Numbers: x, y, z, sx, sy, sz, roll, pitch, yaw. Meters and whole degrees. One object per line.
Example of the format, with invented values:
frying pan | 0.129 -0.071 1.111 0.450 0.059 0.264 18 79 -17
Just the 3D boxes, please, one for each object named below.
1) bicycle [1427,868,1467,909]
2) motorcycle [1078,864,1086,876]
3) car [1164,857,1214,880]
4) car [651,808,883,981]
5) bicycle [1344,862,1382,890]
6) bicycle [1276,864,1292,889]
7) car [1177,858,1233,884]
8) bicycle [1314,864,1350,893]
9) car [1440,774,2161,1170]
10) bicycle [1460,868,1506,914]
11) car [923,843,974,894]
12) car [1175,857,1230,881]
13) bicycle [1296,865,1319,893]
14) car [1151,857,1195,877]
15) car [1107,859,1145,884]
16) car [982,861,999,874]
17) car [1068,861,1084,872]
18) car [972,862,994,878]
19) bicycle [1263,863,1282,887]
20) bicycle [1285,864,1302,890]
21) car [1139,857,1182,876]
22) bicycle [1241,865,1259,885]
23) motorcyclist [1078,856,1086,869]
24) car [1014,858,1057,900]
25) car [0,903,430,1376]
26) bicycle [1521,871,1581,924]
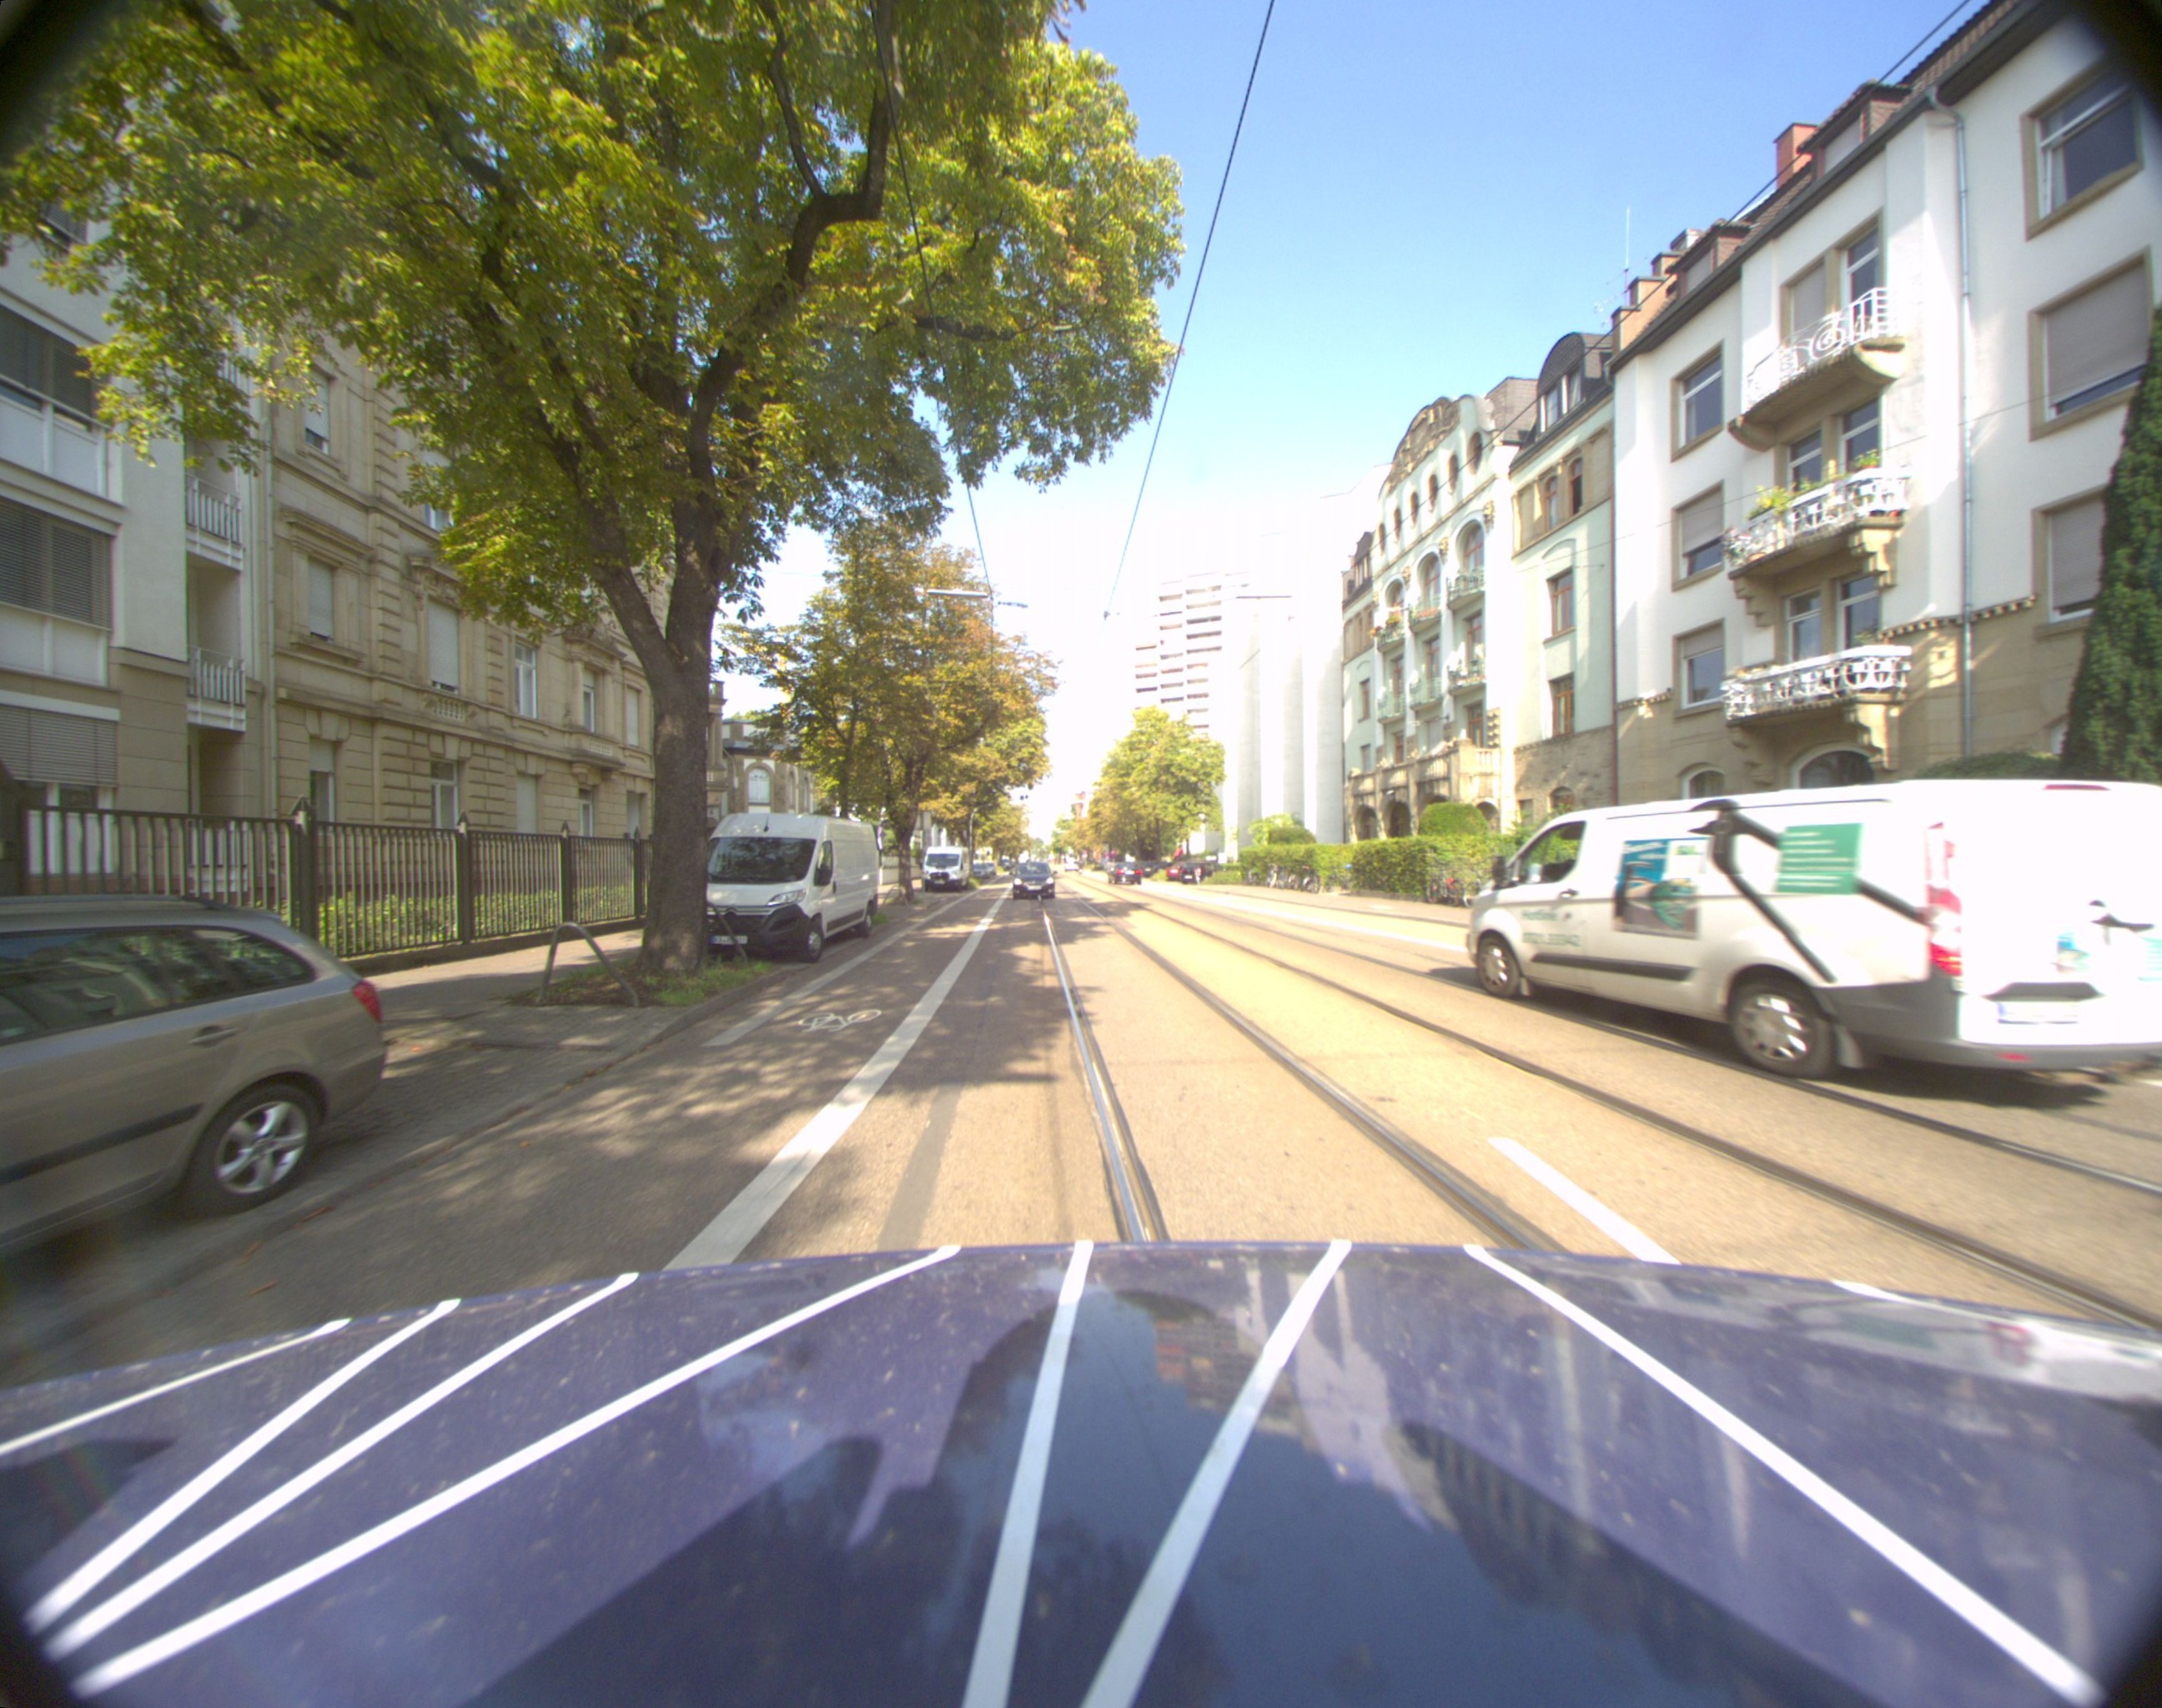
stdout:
bicycle | 10.070 0.929 20.957 0.371 1.081 1.354 -1 0 -4
motorcycle | 0.129 1.678 81.633 0.817 1.235 2.201 -1 0 -1
car | 7.810 1.002 54.543 1.767 1.518 4.008 -1 0 38
car | -5.325 0.586 14.070 2.052 2.484 6.227 0 0 -3
bicycle | 11.246 0.882 30.326 1.354 1.081 0.425 -1 0 -5
bicycle | 9.033 0.980 33.835 0.425 1.081 1.677 -1 0 5
car | 7.873 1.022 47.905 1.767 1.518 4.008 -1 0 38
bicycle | 9.894 0.955 29.970 1.397 1.081 0.425 -1 0 -21
car | 5.383 0.622 6.367 2.000 2.002 4.856 1 0 -7
bicycle | 10.129 0.915 19.187 0.371 1.081 1.354 -1 0 -4
car | -7.055 0.736 40.987 1.999 2.526 5.866 1 0 -3
car | 8.333 0.986 51.728 1.767 1.518 4.008 -1 0 42
bicycle | 9.214 0.997 30.935 0.425 1.081 1.676 -1 0 1
car | 7.540 1.028 62.004 1.767 1.518 4.008 -1 0 38
car | 2.797 1.044 48.310 1.701 1.395 4.644 -3 0 -5
car | -9.857 1.485 82.830 1.758 1.349 3.786 -1 0 -5
car | -0.714 1.615 98.659 1.758 1.349 3.786 -1 0 -5
car | -8.923 1.425 69.270 1.758 1.349 3.786 -1 0 -5
bicycle | 9.030 0.980 35.848 0.425 1.081 1.676 -1 0 -1
bicycle | 9.234 0.986 33.036 0.425 1.081 1.677 -1 0 5
car | 6.794 1.018 64.816 1.767 1.518 4.008 -1 0 38
bicycle | 8.706 1.086 39.167 0.425 0.972 1.769 -1 0 -5
motorcyclist | 0.126 0.897 81.639 0.817 1.445 0.888 -1 0 -1
car | -1.864 0.953 31.082 1.611 1.515 4.356 -2 0 -4
car | -4.623 1.079 2.359 1.611 1.515 4.356 2 0 -4
bicycle | 10.131 0.915 16.424 0.371 1.081 1.354 -1 0 -4
